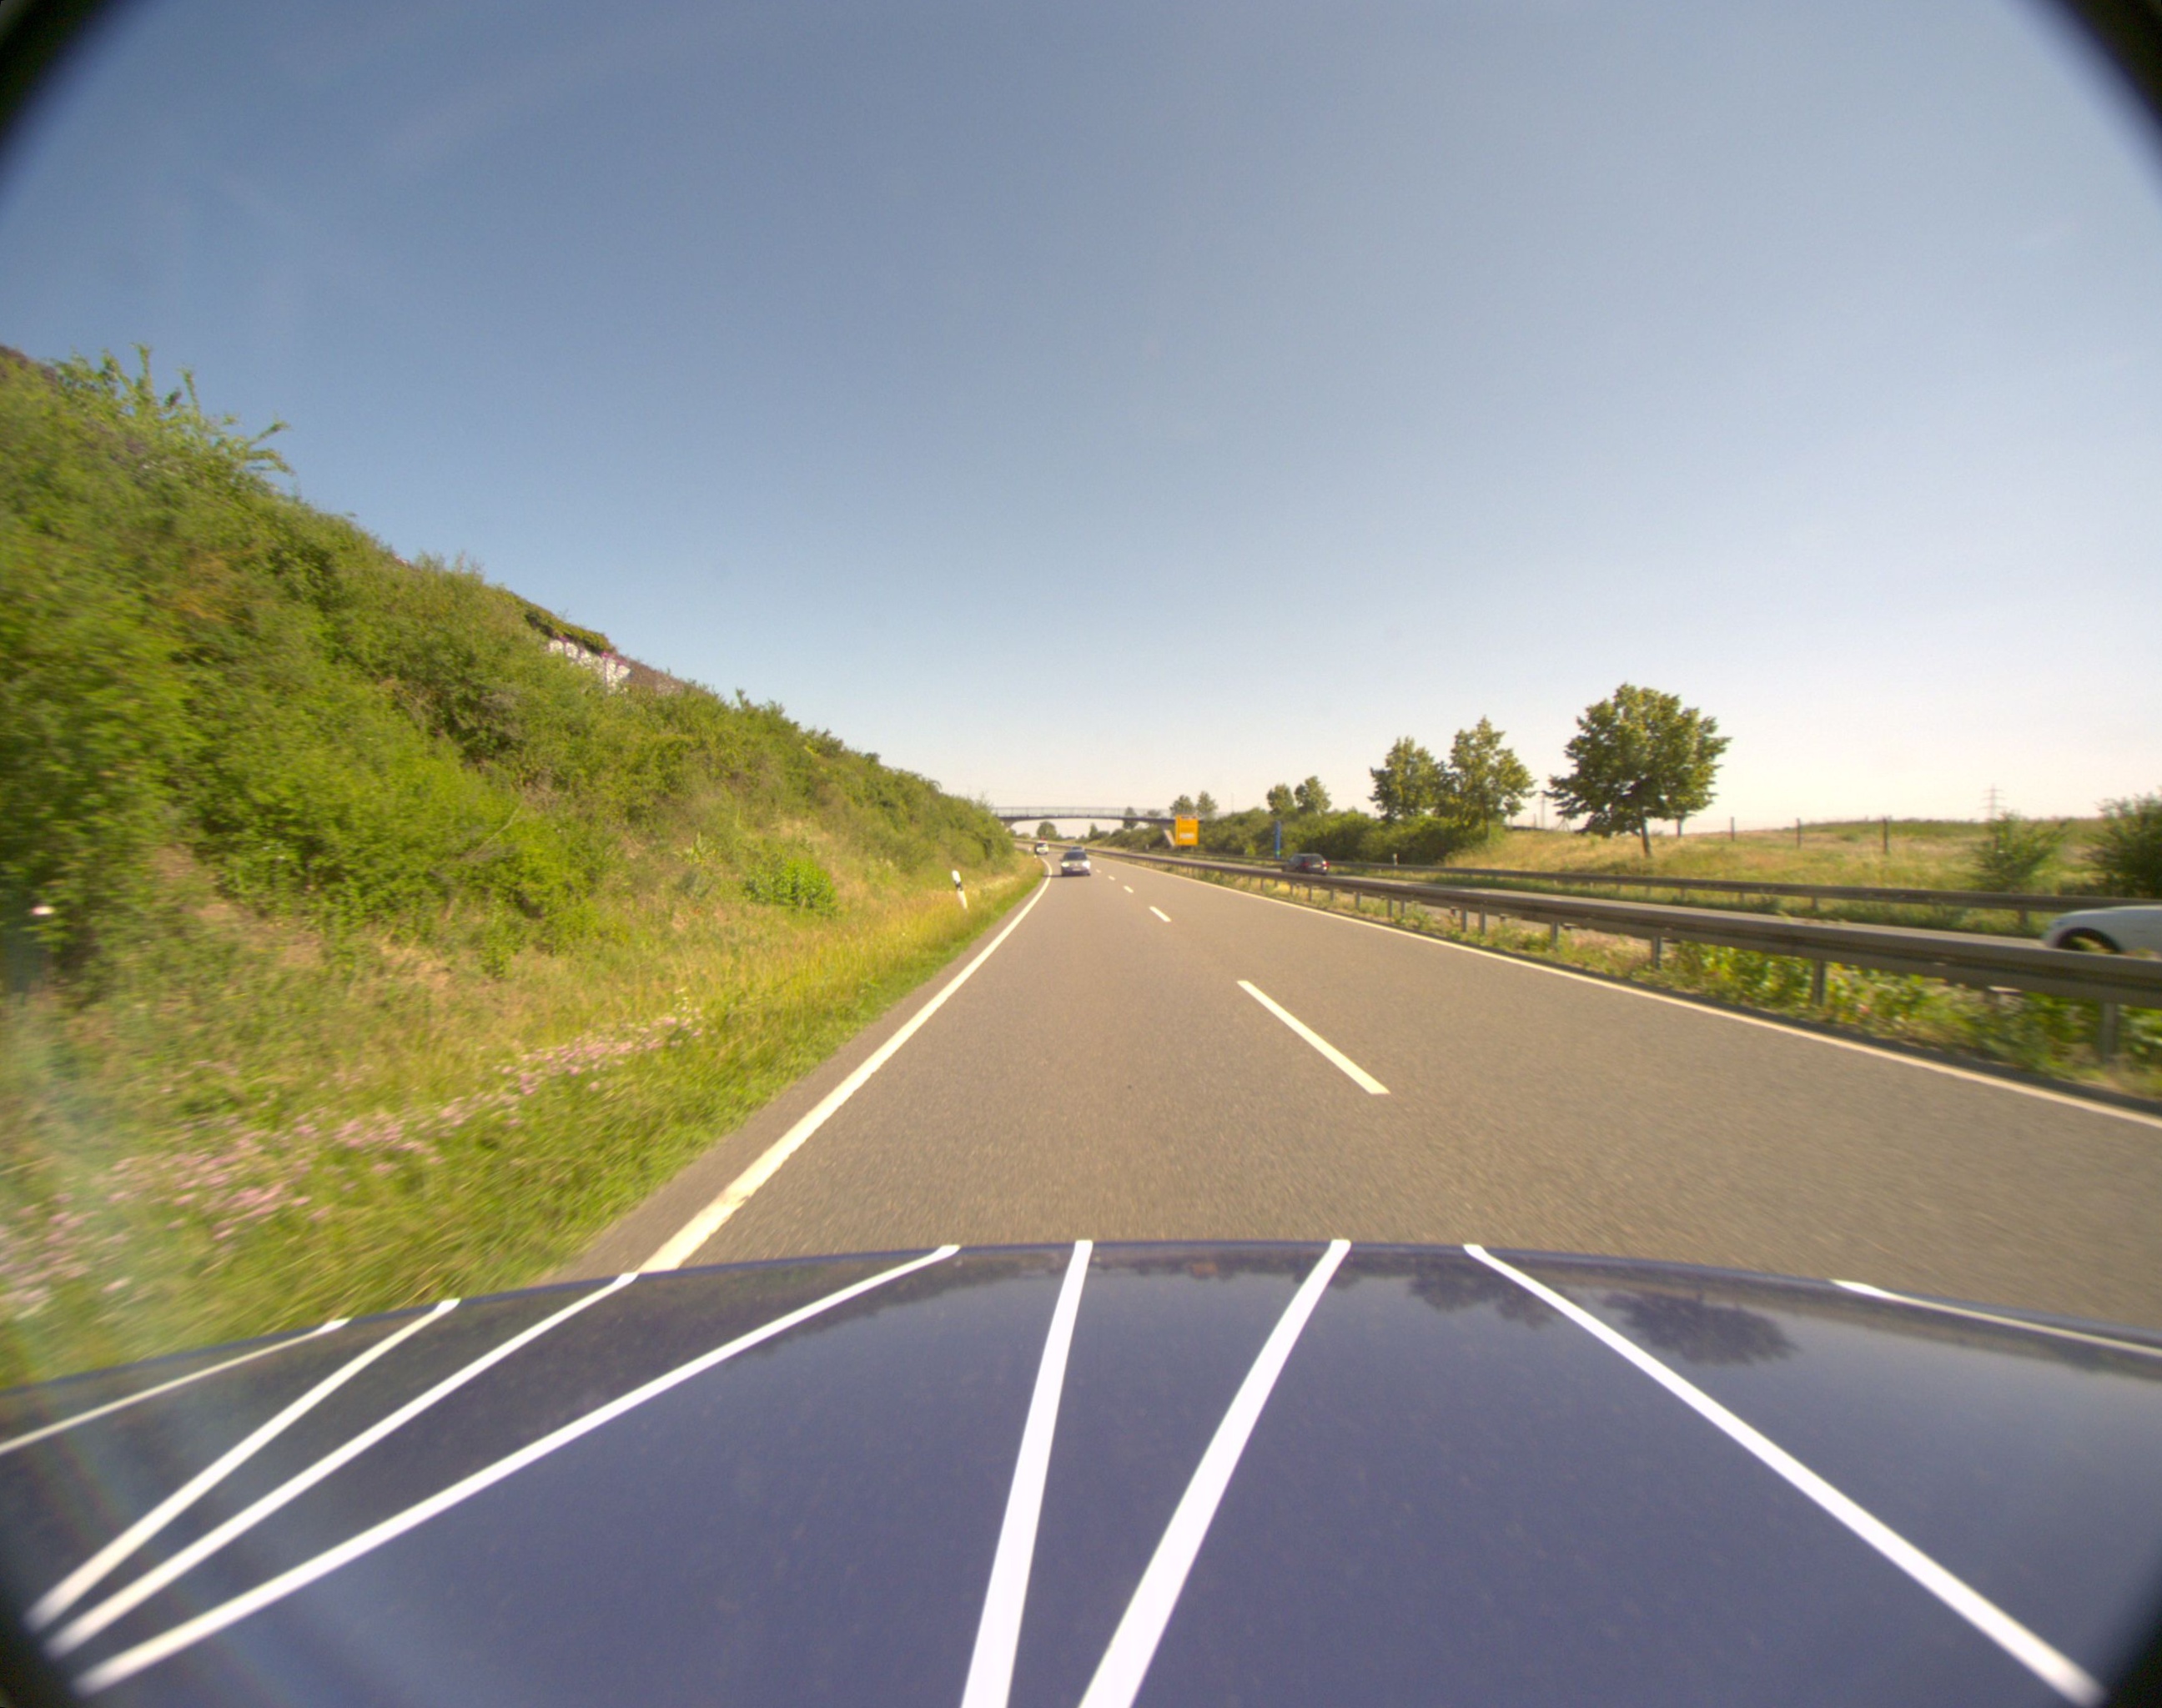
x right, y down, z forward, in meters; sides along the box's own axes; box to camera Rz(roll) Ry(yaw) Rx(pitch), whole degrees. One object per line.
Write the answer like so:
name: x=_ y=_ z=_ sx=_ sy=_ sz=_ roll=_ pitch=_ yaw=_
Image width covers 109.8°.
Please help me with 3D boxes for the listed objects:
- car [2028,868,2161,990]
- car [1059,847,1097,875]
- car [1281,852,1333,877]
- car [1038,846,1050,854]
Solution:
car: x=14.277 y=0.961 z=8.626 sx=1.672 sy=1.424 sz=4.348 roll=-2 pitch=1 yaw=1
car: x=-0.114 y=0.396 z=47.388 sx=1.853 sy=1.635 sz=4.001 roll=-2 pitch=1 yaw=7
car: x=13.930 y=0.599 z=47.106 sx=1.876 sy=1.393 sz=4.321 roll=-2 pitch=1 yaw=0
car: x=-5.862 y=-0.638 z=120.108 sx=1.790 sy=1.212 sz=3.998 roll=0 pitch=1 yaw=-1
